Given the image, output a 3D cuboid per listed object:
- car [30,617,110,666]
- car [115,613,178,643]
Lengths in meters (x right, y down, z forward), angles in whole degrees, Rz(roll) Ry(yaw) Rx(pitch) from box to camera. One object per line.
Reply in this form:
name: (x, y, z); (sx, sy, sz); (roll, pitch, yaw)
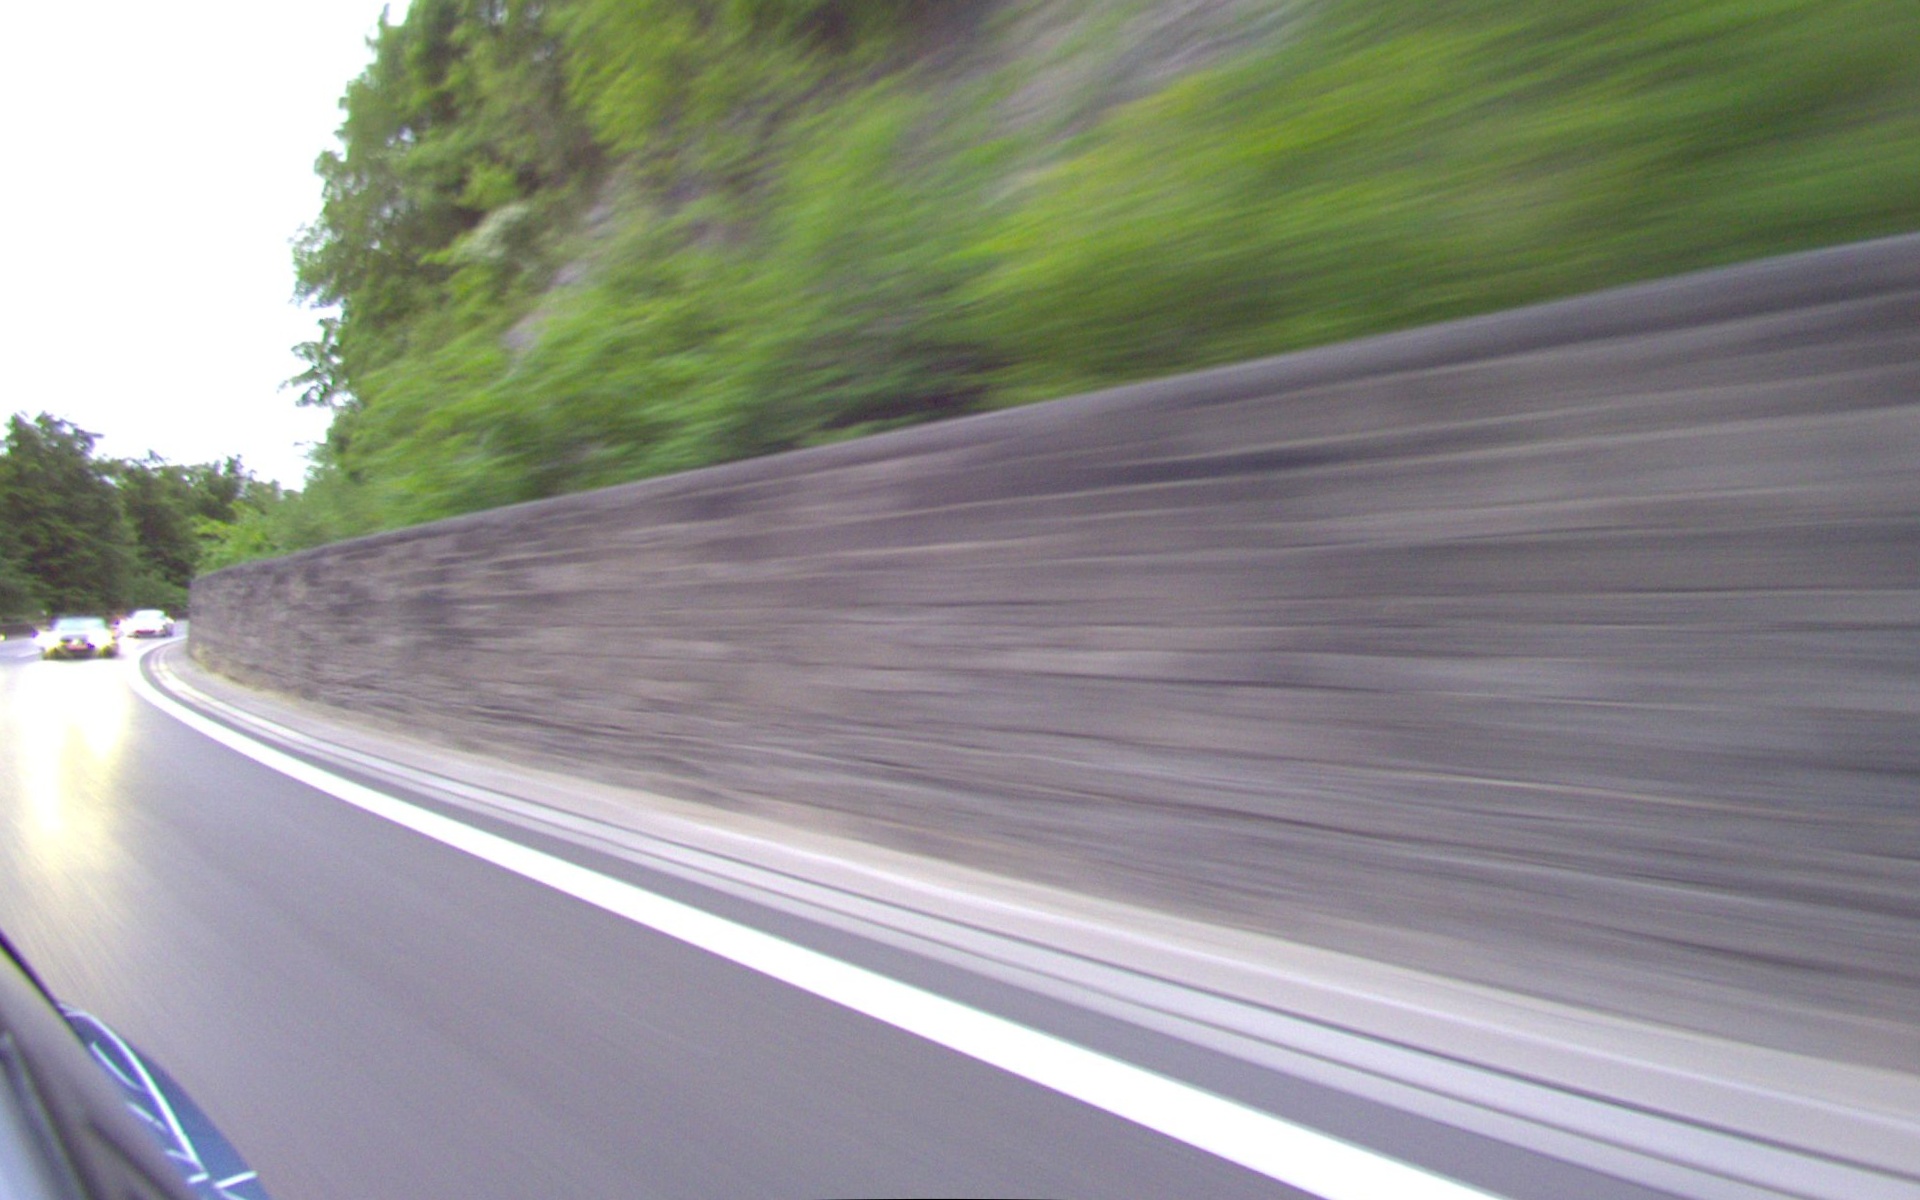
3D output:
car: (-30.711, 1.381, 34.985); (1.969, 1.519, 4.006); (2, -1, -41)
car: (-45.903, 1.567, 57.212); (1.965, 1.519, 4.013); (-2, 1, -27)
